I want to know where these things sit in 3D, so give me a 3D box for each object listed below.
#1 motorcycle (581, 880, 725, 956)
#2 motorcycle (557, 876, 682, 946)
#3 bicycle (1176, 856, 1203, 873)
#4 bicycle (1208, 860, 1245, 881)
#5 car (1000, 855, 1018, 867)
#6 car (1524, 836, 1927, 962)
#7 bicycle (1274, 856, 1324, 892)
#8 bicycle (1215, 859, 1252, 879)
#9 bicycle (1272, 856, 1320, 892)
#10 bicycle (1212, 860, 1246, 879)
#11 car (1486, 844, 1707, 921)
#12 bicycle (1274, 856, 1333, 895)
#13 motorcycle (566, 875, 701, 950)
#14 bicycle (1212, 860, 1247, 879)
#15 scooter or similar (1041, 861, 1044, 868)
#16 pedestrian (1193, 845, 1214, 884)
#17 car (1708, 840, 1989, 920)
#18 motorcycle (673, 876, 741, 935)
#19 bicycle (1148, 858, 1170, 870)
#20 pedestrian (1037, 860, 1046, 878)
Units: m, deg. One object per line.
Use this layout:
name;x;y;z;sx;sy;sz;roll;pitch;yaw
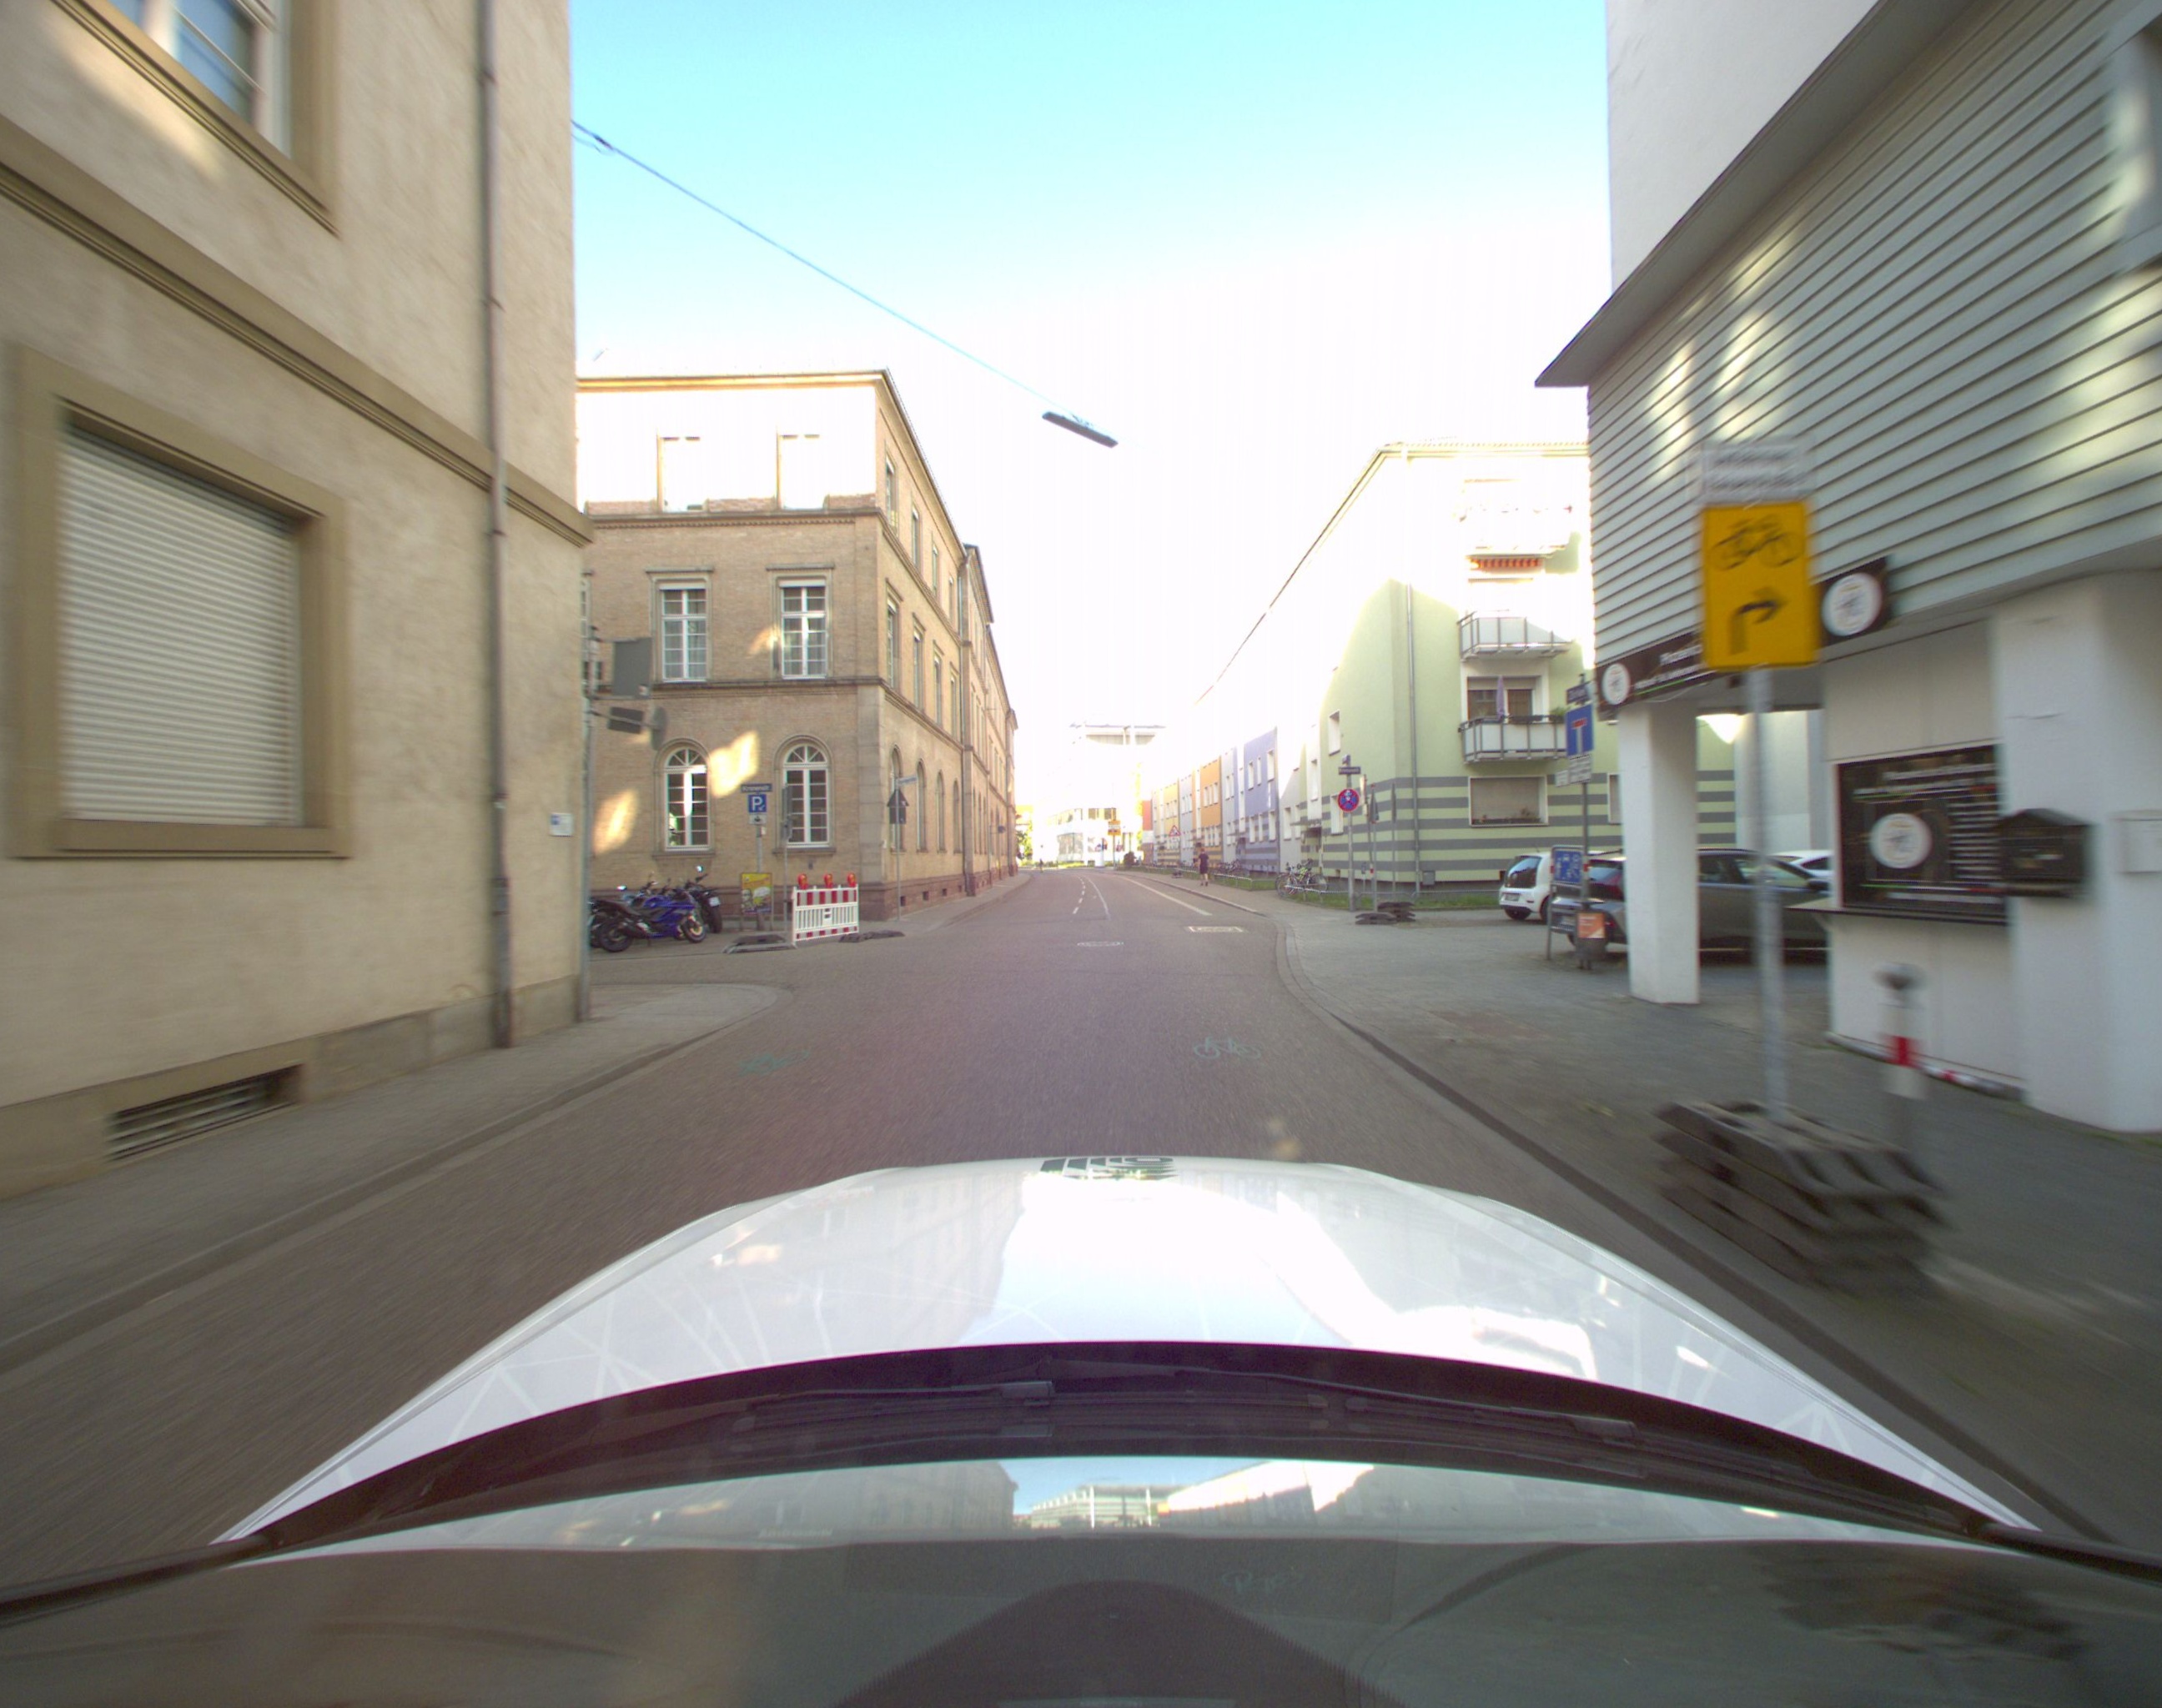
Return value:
motorcycle;-7.870;1.142;15.090;0.580;1.173;2.297;2;3;42
motorcycle;-9.491;1.141;16.825;2.140;1.274;0.580;-2;0;-44
bicycle;7.675;0.767;57.638;1.806;1.137;0.551;-2;-1;-2
bicycle;7.316;0.821;40.940;1.743;0.946;0.552;-2;-1;-1
car;-12.449;1.236;140.112;2.426;2.112;5.209;1;-1;-12
car;8.644;0.576;11.202;4.065;1.482;1.865;-1;-1;-1
bicycle;7.609;0.695;28.425;1.640;1.141;0.282;-5;0;-9
bicycle;7.798;0.751;41.607;1.743;0.946;0.552;-2;-1;-1
bicycle;7.565;0.700;28.697;1.602;1.141;0.236;-5;0;-9
bicycle;7.844;0.815;43.212;1.743;0.946;0.335;-2;-1;-1
car;10.638;0.572;16.989;3.533;1.482;1.709;-1;-1;0
bicycle;7.372;0.709;27.010;1.743;1.141;0.552;-4;0;-1
motorcycle;-8.764;1.112;16.030;2.213;1.293;0.580;-2;0;-43
bicycle;7.771;0.801;42.753;1.742;0.946;0.326;-2;-1;0
scooter or similar;-5.780;1.602;121.560;0.325;1.059;1.137;-1;0;-12
pedestrian;5.775;0.481;38.291;0.694;1.760;1.188;-4;0;0
car;15.783;0.521;16.915;4.196;1.482;1.709;-1;-1;0
motorcycle;-8.107;1.079;17.595;0.664;1.173;2.174;-2;0;-43
bicycle;6.878;0.860;71.837;1.751;1.004;0.612;-3;-1;-6
pedestrian;-4.416;1.681;90.426;0.895;2.014;0.751;-2;-1;-8
